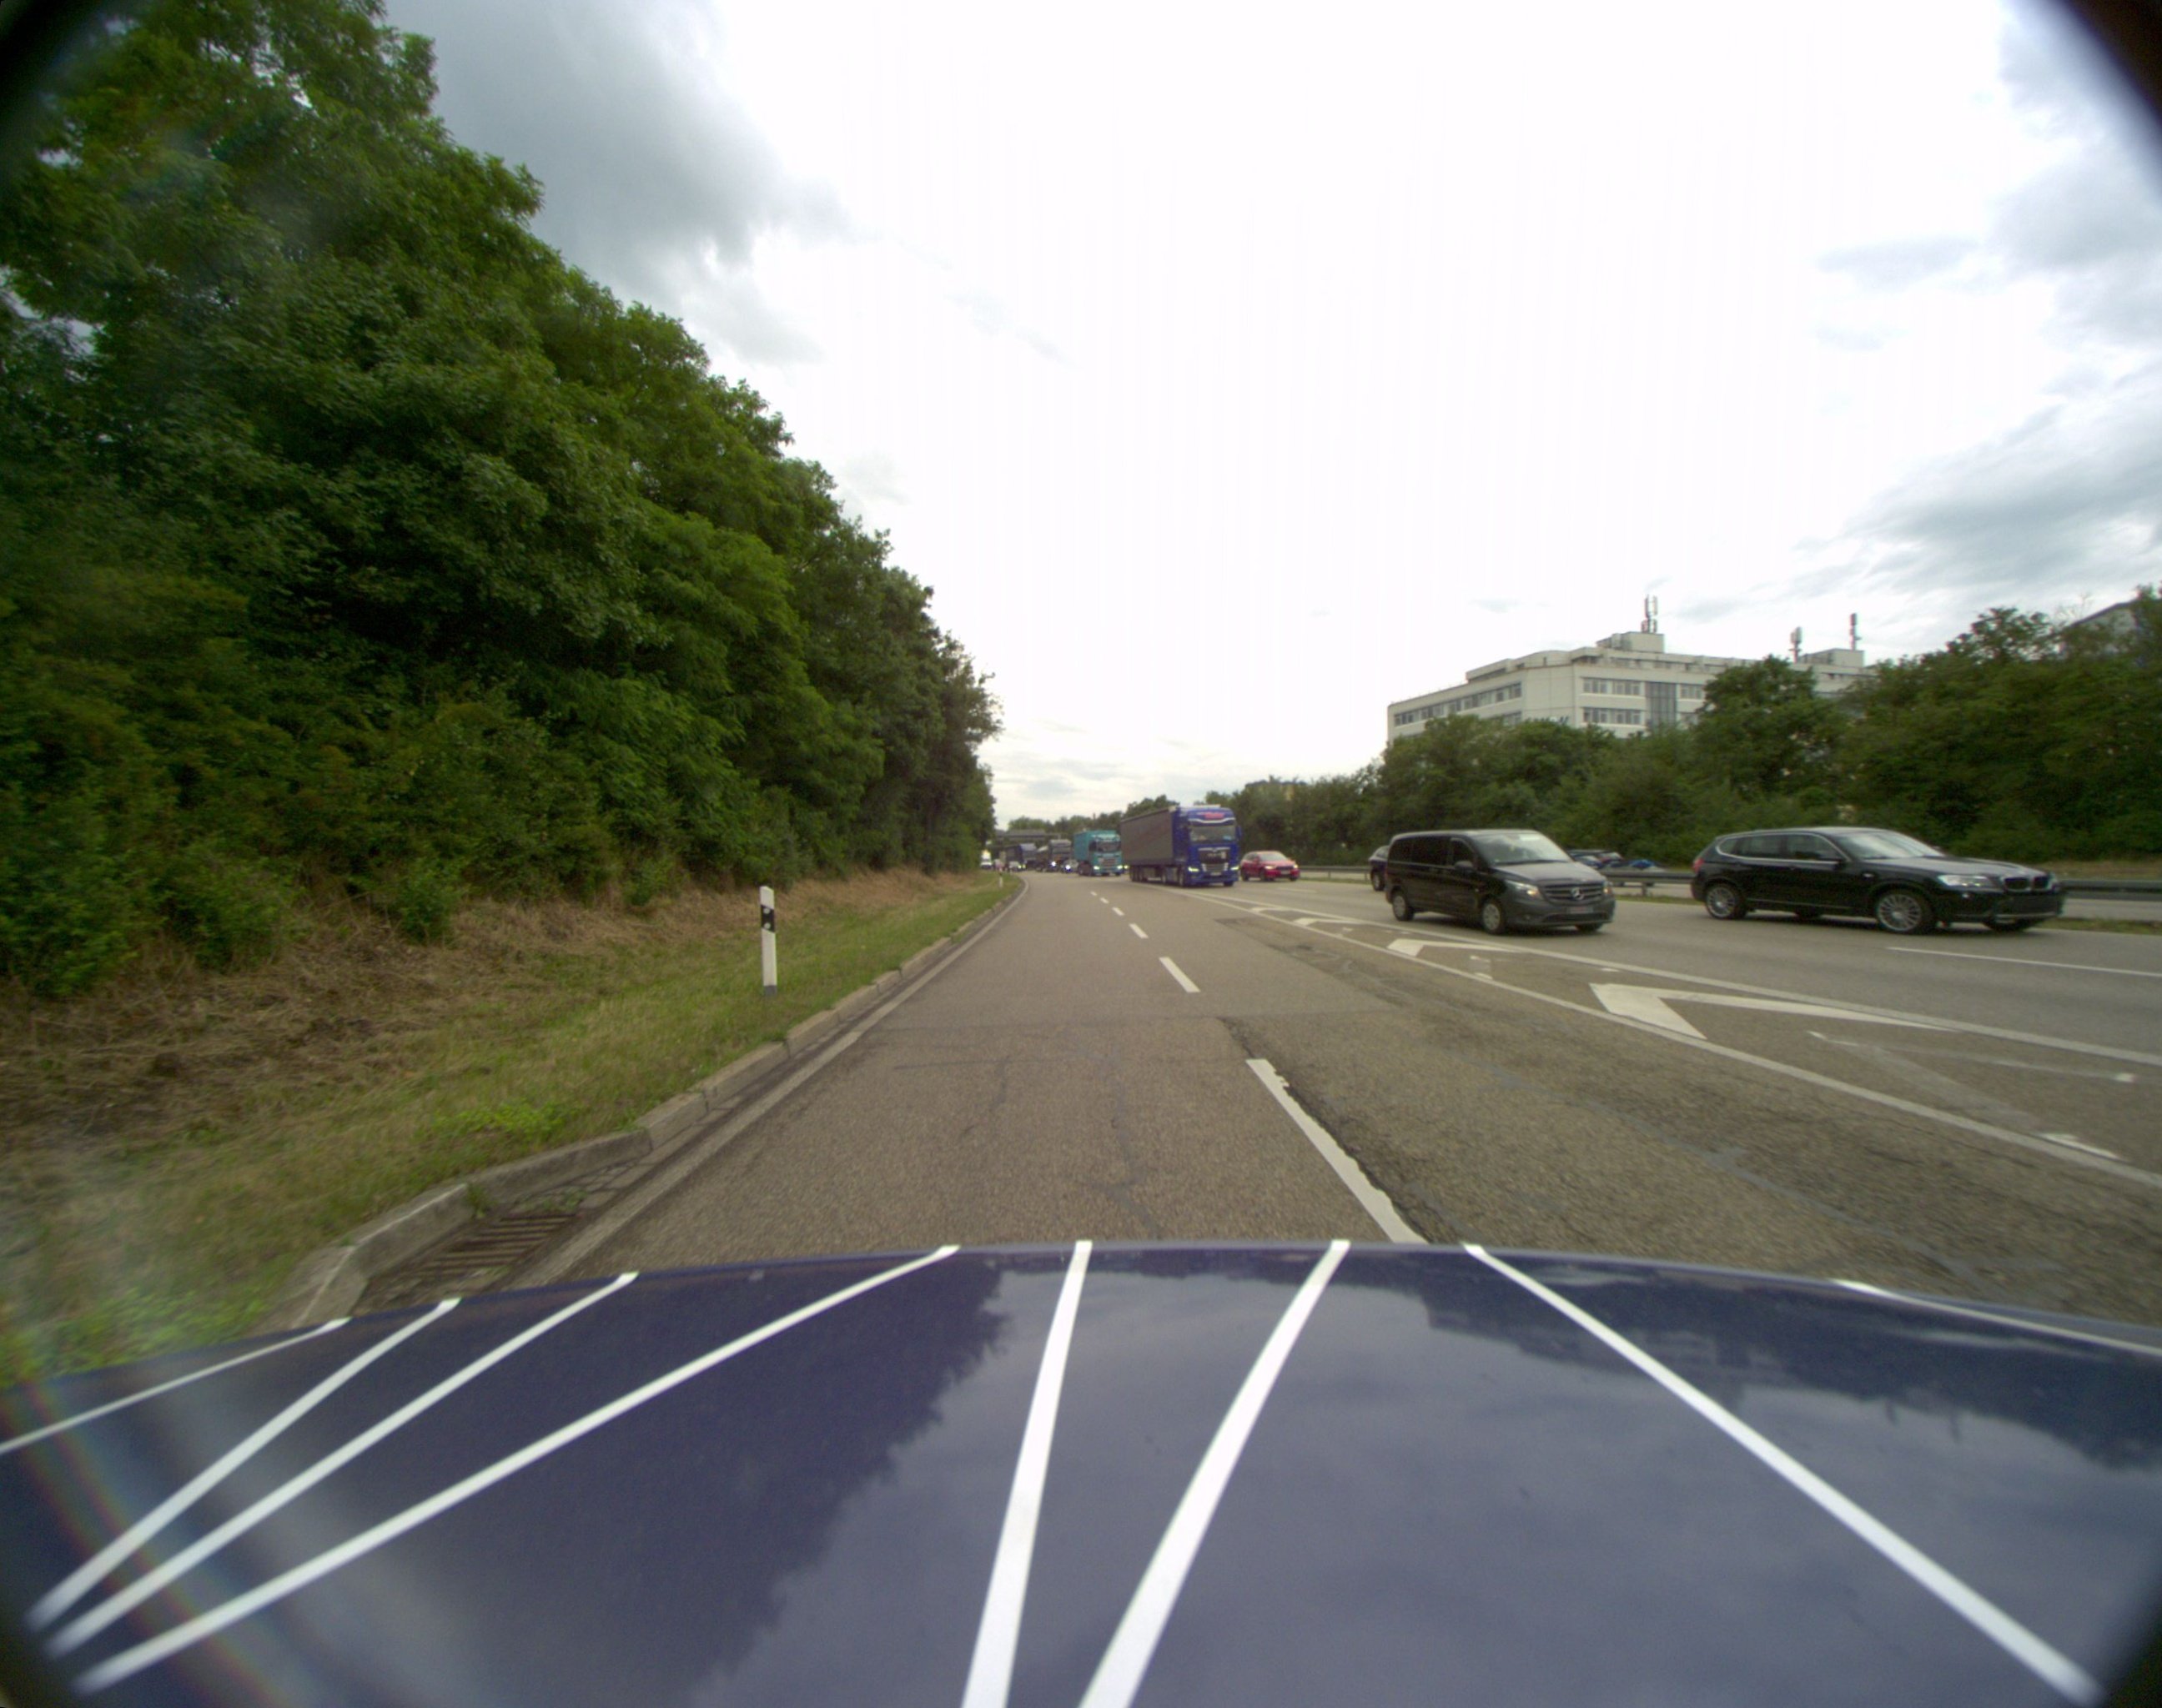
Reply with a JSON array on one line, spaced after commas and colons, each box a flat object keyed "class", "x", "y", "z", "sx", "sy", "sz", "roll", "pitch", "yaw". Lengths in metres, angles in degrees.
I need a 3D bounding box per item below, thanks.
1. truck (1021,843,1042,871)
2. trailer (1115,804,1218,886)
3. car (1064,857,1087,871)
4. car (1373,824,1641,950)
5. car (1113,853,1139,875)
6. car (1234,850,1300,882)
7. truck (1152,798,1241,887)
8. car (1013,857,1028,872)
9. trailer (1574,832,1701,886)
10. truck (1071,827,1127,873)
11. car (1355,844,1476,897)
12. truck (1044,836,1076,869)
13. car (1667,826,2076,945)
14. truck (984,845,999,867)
[{"class": "truck", "x": -7.522, "y": 0.468, "z": 114.830, "sx": 2.547, "sy": 3.949, "sz": 6.470, "roll": -1, "pitch": 0, "yaw": -8}, {"class": "trailer", "x": 4.645, "y": -0.486, "z": 45.128, "sx": 2.635, "sy": 3.999, "sz": 13.452, "roll": -3, "pitch": 1, "yaw": -8}, {"class": "car", "x": -0.599, "y": 1.052, "z": 79.168, "sx": 1.753, "sy": 1.413, "sz": 3.661, "roll": -1, "pitch": 0, "yaw": -9}, {"class": "car", "x": 7.701, "y": 0.535, "z": 14.520, "sx": 1.999, "sy": 1.894, "sz": 5.078, "roll": -3, "pitch": 0, "yaw": -3}, {"class": "car", "x": 4.277, "y": 0.958, "z": 72.577, "sx": 1.674, "sy": 2.002, "sz": 3.997, "roll": -2, "pitch": 0, "yaw": -9}, {"class": "car", "x": 10.055, "y": 0.619, "z": 41.502, "sx": 1.999, "sy": 1.609, "sz": 4.785, "roll": -2, "pitch": 0, "yaw": -6}, {"class": "truck", "x": 5.656, "y": -0.548, "z": 38.372, "sx": 2.569, "sy": 4.019, "sz": 6.584, "roll": -3, "pitch": 1, "yaw": -8}, {"class": "car", "x": -8.136, "y": 1.383, "z": 102.370, "sx": 1.765, "sy": 2.002, "sz": 3.998, "roll": -2, "pitch": 0, "yaw": -7}, {"class": "trailer", "x": 22.281, "y": 0.192, "z": 30.612, "sx": 1.663, "sy": 2.002, "sz": 3.996, "roll": -1, "pitch": 0, "yaw": -12}, {"class": "truck", "x": 1.403, "y": -0.282, "z": 67.785, "sx": 2.939, "sy": 3.774, "sz": 11.322, "roll": -1, "pitch": 0, "yaw": -9}, {"class": "car", "x": 11.575, "y": 0.534, "z": 26.677, "sx": 1.751, "sy": 1.645, "sz": 4.681, "roll": -1, "pitch": 0, "yaw": -6}, {"class": "truck", "x": -2.612, "y": -0.156, "z": 92.129, "sx": 2.692, "sy": 3.884, "sz": 6.929, "roll": -1, "pitch": 0, "yaw": -11}, {"class": "car", "x": 12.734, "y": 0.438, "z": 12.816, "sx": 1.865, "sy": 1.604, "sz": 4.649, "roll": -1, "pitch": 0, "yaw": -4}, {"class": "truck", "x": -17.033, "y": 0.427, "z": 143.941, "sx": 2.255, "sy": 3.949, "sz": 6.622, "roll": -1, "pitch": 0, "yaw": -10}]
